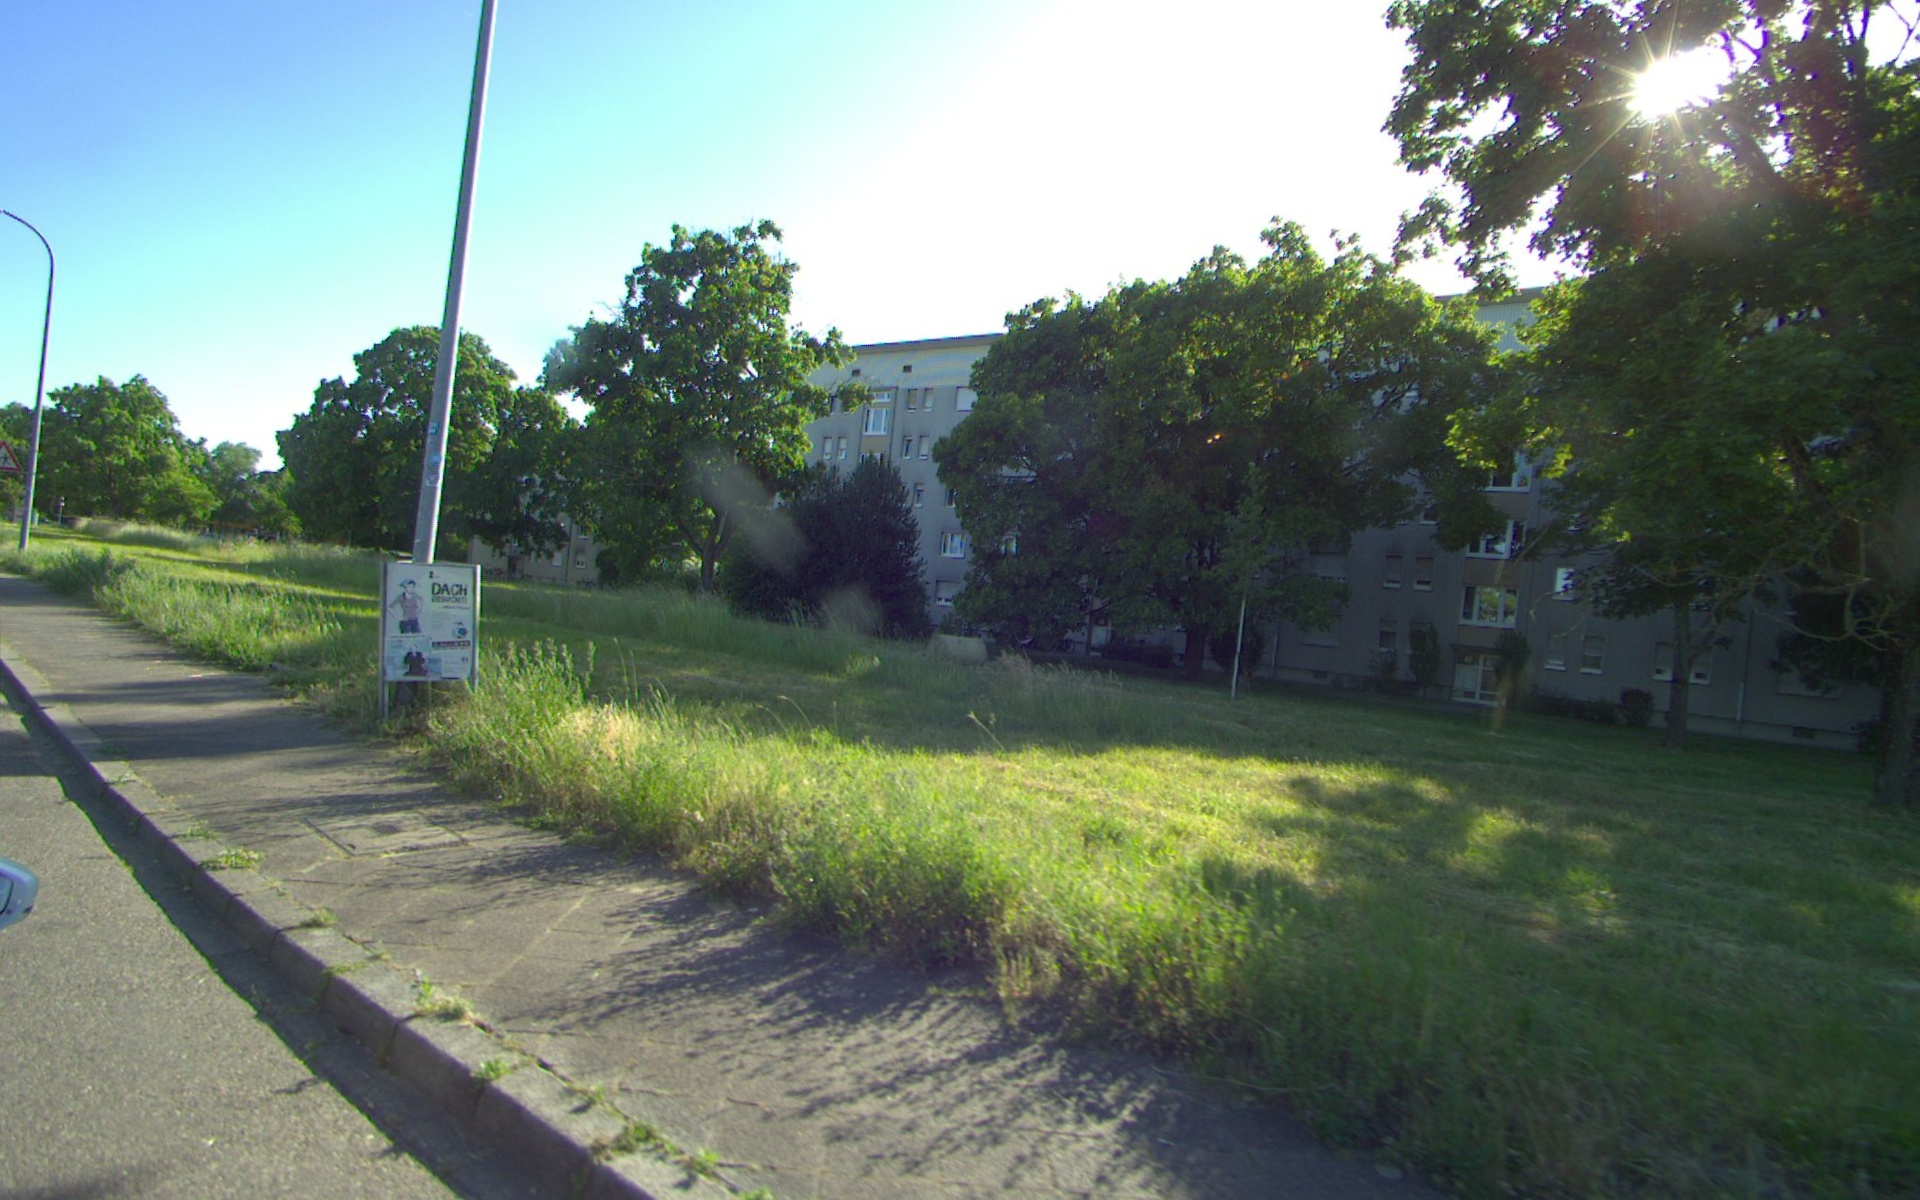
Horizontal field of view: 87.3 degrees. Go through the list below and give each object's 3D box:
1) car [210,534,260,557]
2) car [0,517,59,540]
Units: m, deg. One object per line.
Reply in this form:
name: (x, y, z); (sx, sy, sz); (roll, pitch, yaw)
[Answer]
car: (-69.444, -5.222, 96.463); (3.677, 1.637, 1.686); (6, -2, -33)
car: (-81.831, -6.306, 88.388); (3.677, 1.458, 1.686); (6, -3, -33)
